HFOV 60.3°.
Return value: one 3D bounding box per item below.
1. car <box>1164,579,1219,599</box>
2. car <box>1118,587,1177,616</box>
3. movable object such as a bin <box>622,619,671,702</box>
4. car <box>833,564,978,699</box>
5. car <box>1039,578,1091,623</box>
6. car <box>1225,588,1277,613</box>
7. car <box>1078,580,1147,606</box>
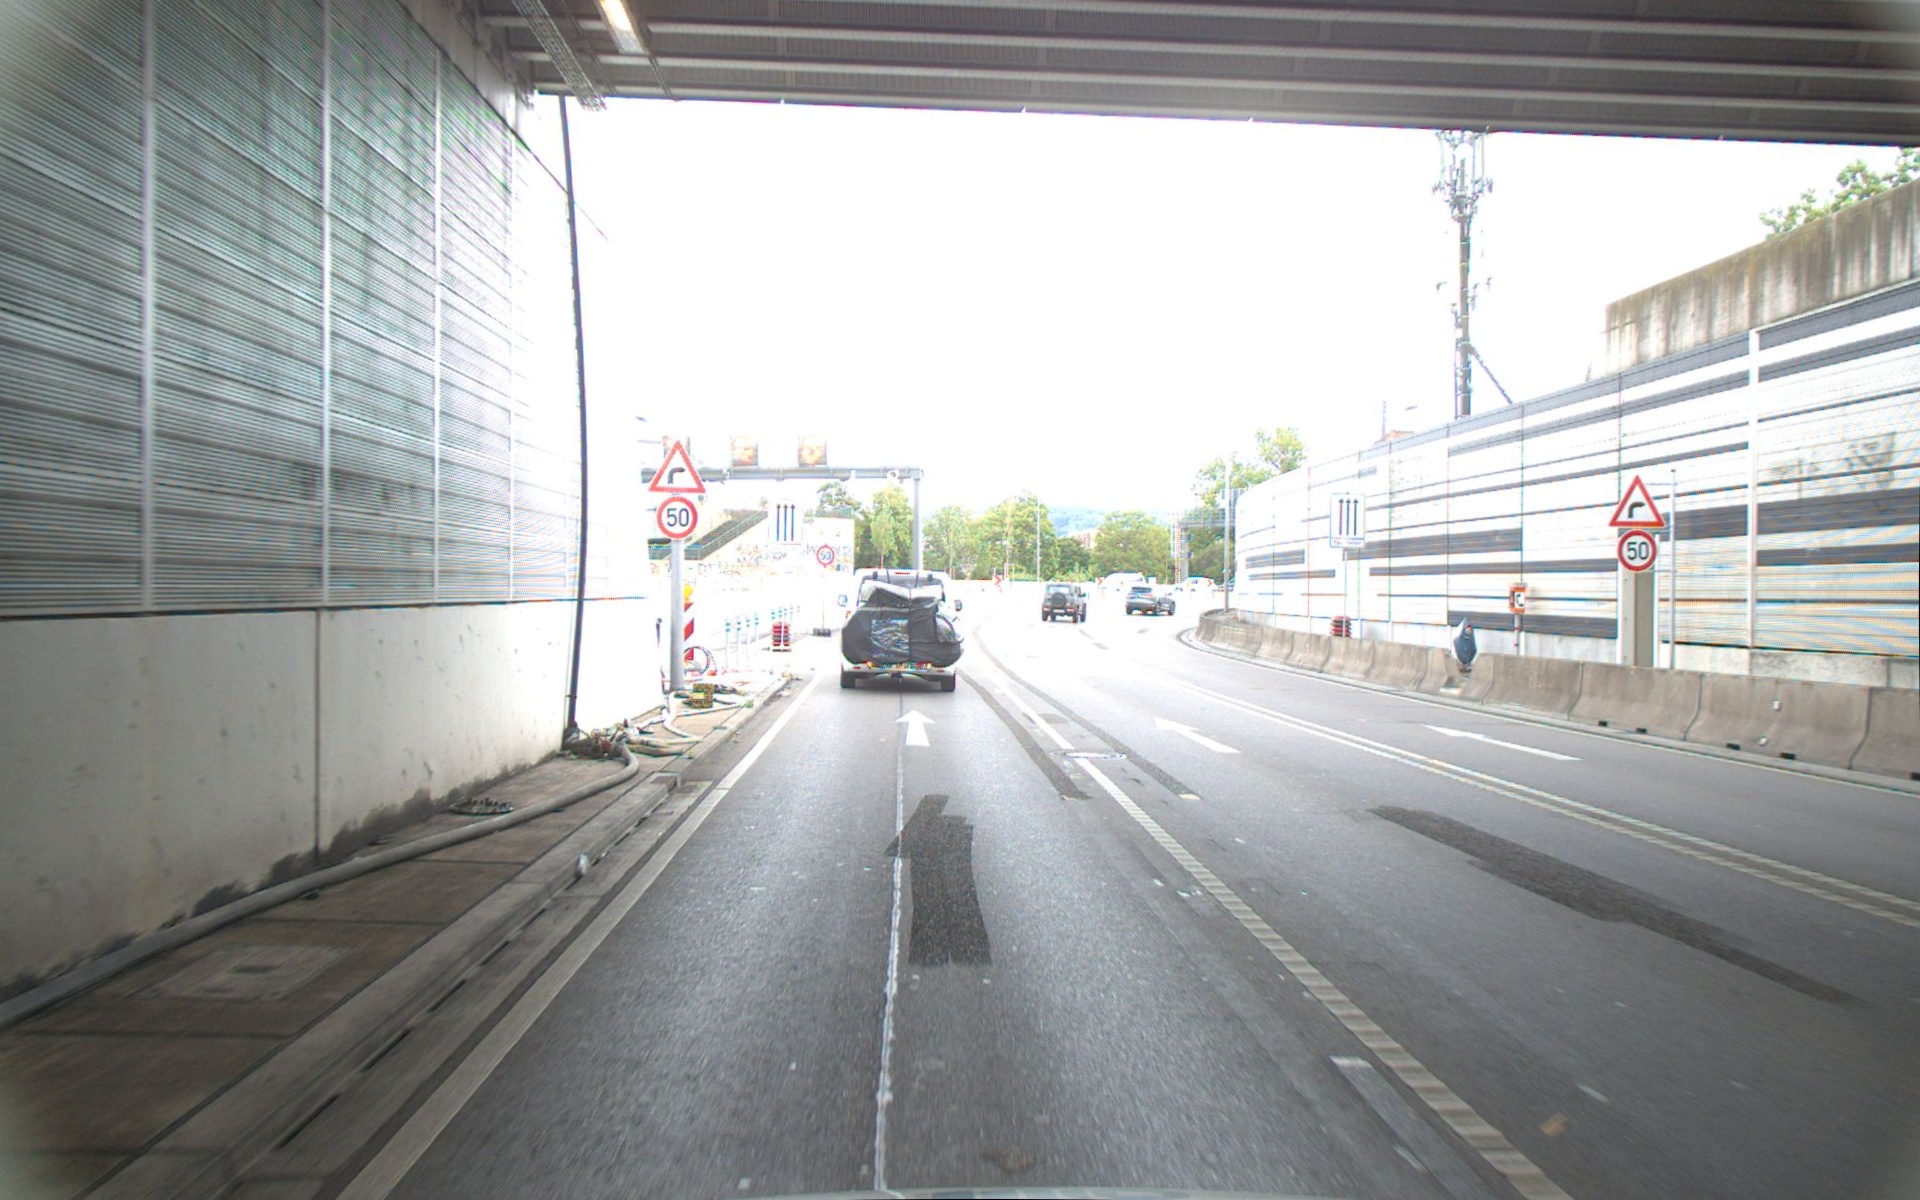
[{"bbox_3d":[18.213,-0.858,130.006,4.091,1.459,1.747,1,0,-32],"label":"car"},{"bbox_3d":[10.323,0.073,90.836,1.973,1.514,4.062,1,1,26],"label":"car"},{"bbox_3d":[-4.012,0.771,21.207,0.541,1.026,0.546,2,0,-6],"label":"movable object such as a bin"},{"bbox_3d":[-1.005,0.465,27.010,1.954,1.891,5.634,3,0,-5],"label":"car"},{"bbox_3d":[4.743,0.017,74.410,1.951,1.892,4.003,1,0,8],"label":"car"},{"bbox_3d":[18.518,0.025,105.260,1.957,1.495,3.991,-1,0,31],"label":"car"},{"bbox_3d":[10.898,-0.482,118.103,5.229,1.780,1.927,0,0,-42],"label":"car"}]
